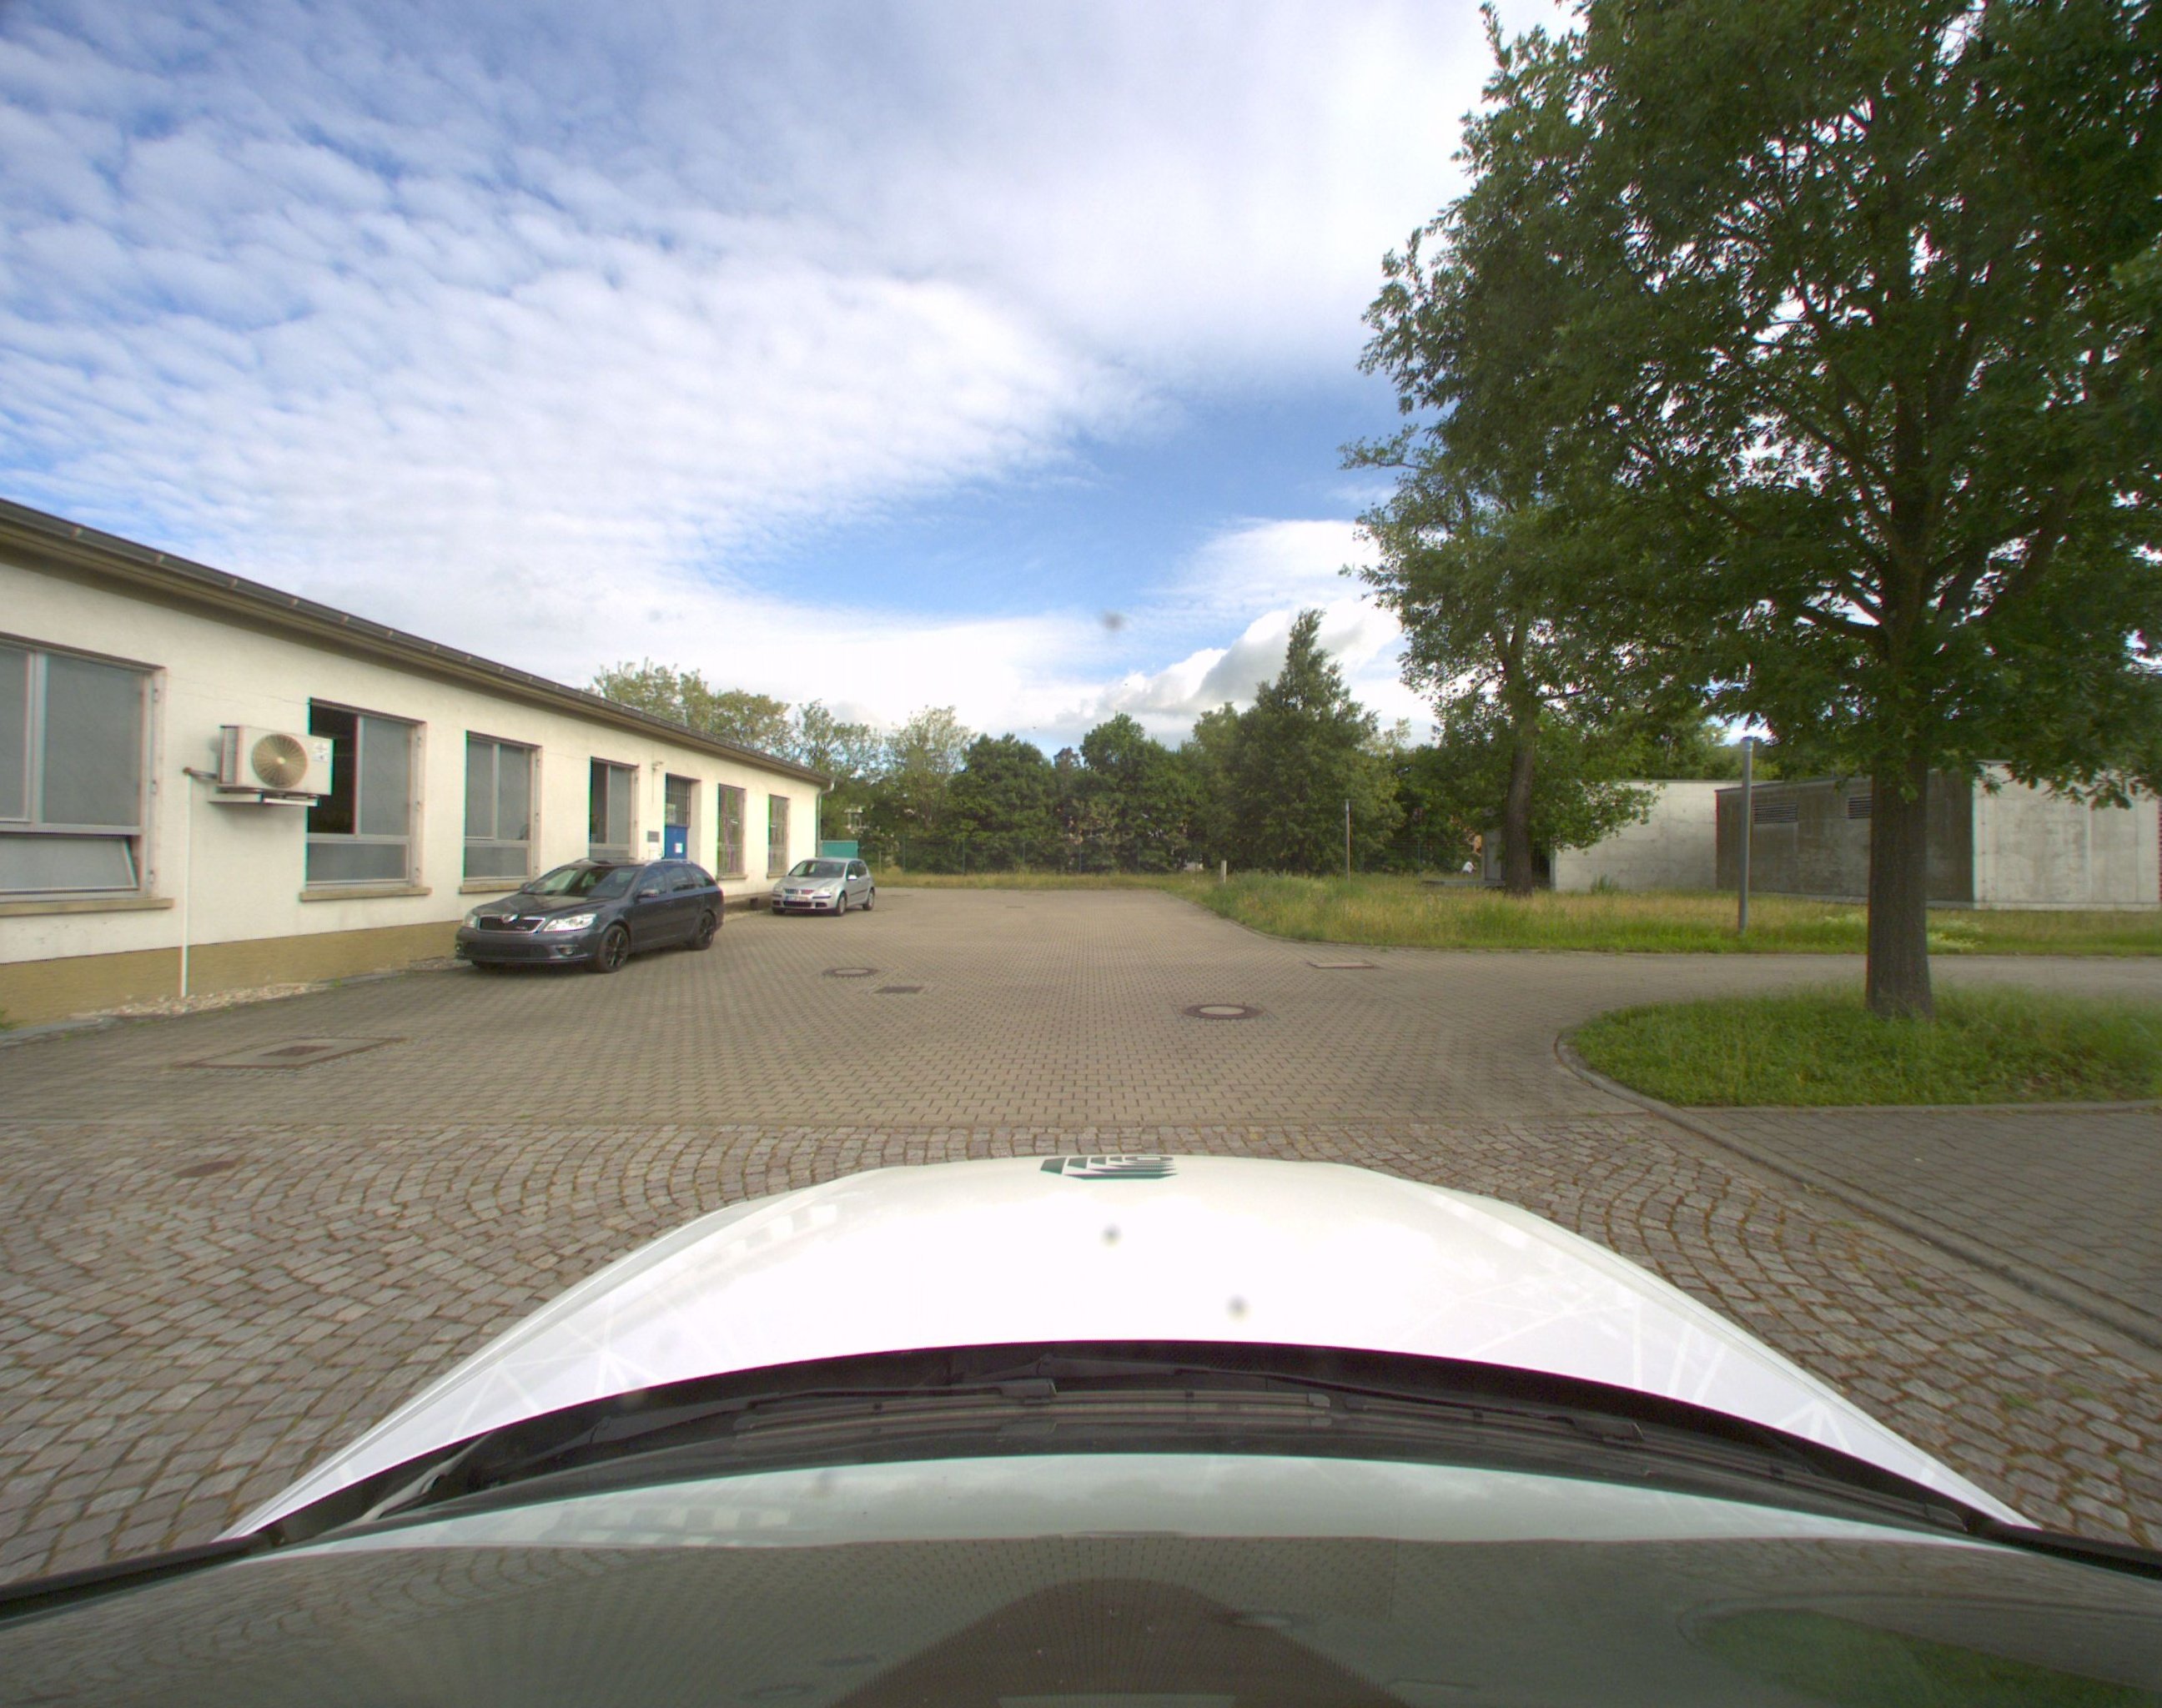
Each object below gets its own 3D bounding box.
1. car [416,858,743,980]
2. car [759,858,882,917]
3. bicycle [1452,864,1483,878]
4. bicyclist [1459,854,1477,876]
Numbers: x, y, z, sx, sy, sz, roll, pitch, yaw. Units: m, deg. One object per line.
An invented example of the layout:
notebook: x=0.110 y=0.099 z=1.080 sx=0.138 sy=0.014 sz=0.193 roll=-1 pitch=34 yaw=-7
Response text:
car: x=-6.988 y=0.790 z=12.147 sx=1.919 sy=1.461 sz=4.809 roll=0 pitch=0 yaw=-1
car: x=-6.861 y=0.821 z=21.968 sx=1.919 sy=1.439 sz=4.366 roll=0 pitch=0 yaw=-1
bicycle: x=22.018 y=0.978 z=46.396 sx=1.512 sy=0.791 sz=0.588 roll=0 pitch=-1 yaw=0
bicyclist: x=22.074 y=0.620 z=46.422 sx=0.767 sy=1.206 sz=0.588 roll=0 pitch=-1 yaw=0
